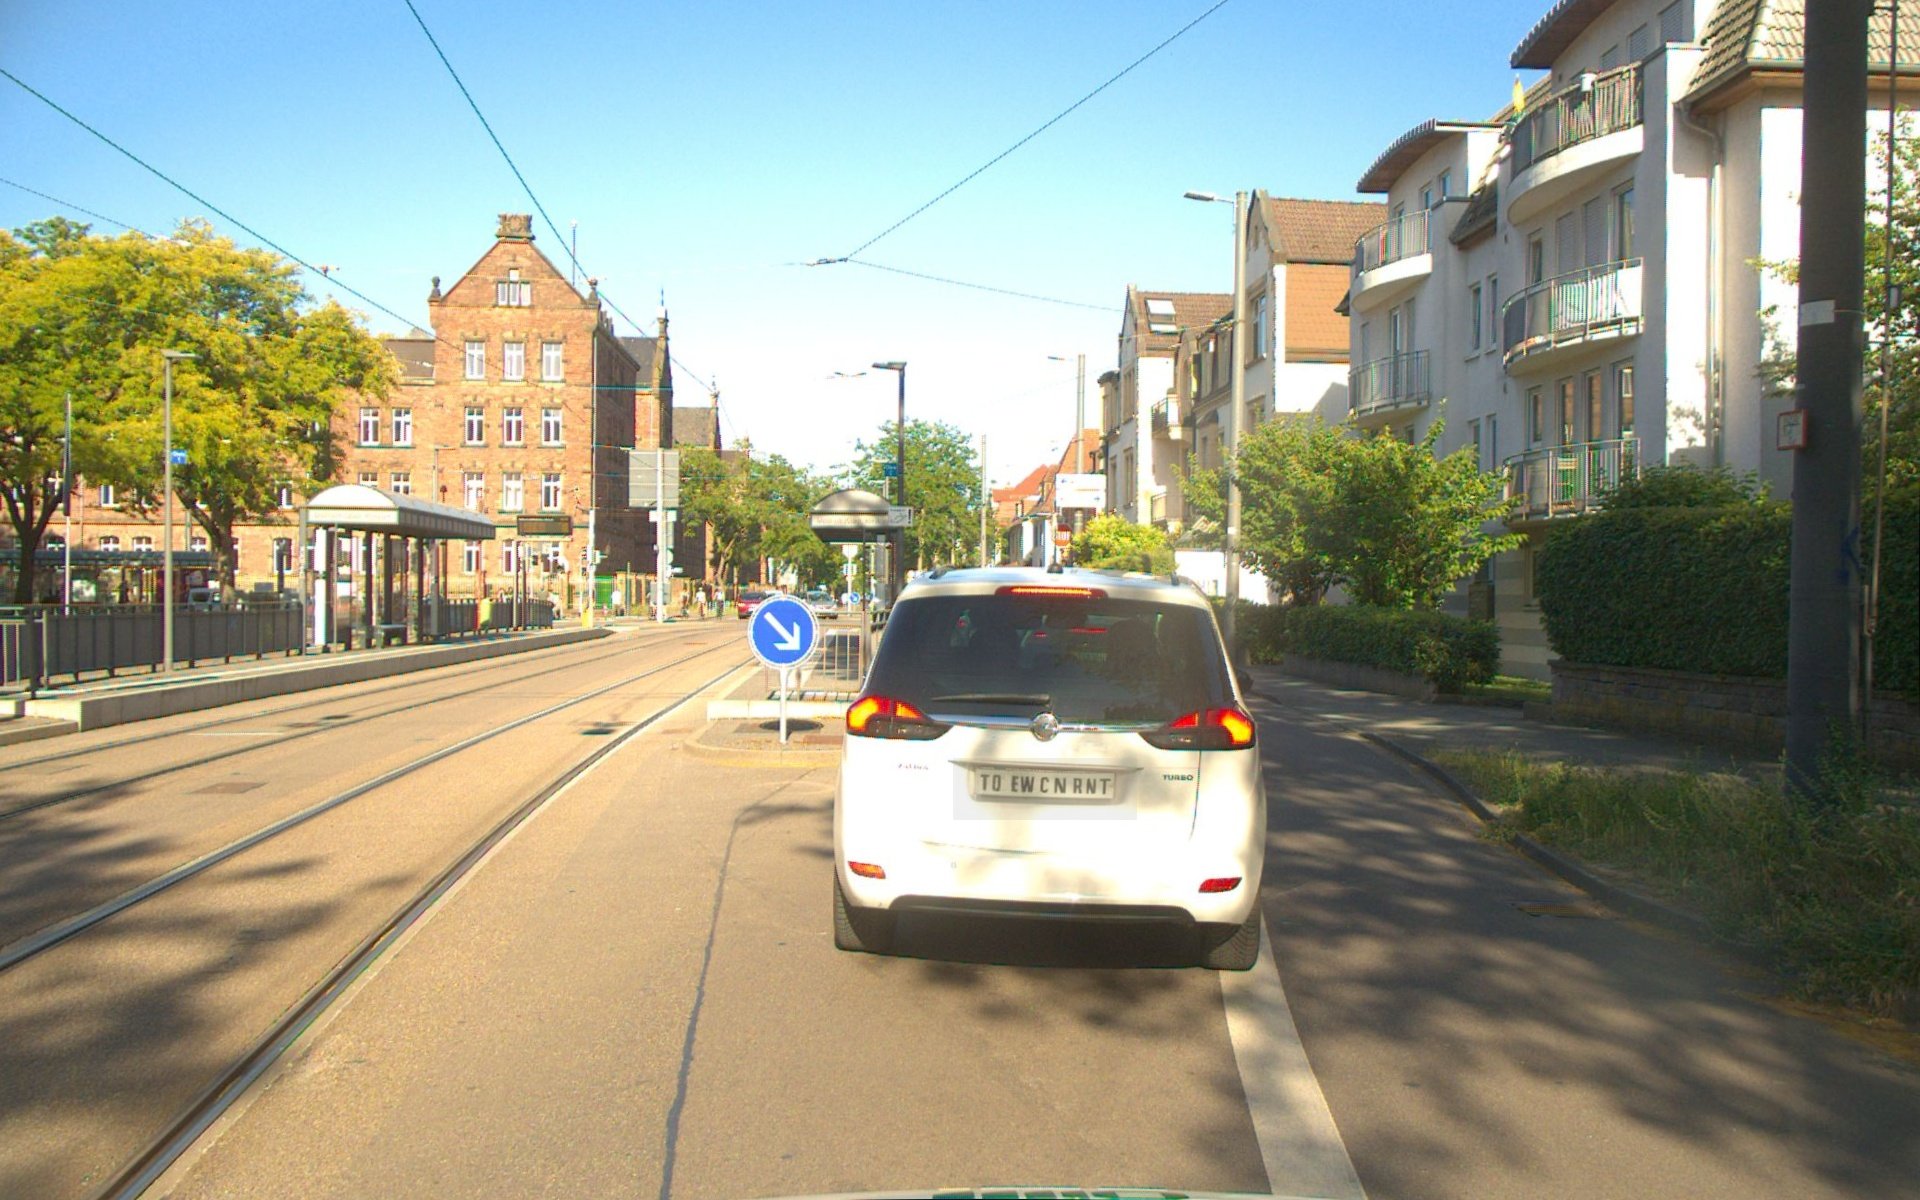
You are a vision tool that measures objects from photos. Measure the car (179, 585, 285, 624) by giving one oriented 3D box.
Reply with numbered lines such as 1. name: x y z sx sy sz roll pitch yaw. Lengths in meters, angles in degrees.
1. car: -32.456 0.219 73.820 3.908 1.658 1.817 1 0 -4

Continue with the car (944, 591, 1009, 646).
1. car: 0.495 0.554 53.086 1.869 1.690 3.998 0 0 -2

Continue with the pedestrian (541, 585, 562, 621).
1. pedestrian: -21.874 0.159 88.540 0.791 1.934 0.744 1 -1 13

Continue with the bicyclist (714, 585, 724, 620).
1. bicyclist: -14.483 0.159 99.289 0.478 2.049 0.502 1 -1 -1

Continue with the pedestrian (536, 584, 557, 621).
1. pedestrian: -21.693 0.139 86.733 0.791 1.934 0.744 1 -1 13

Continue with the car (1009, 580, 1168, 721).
1. car: 1.744 0.587 21.630 1.866 1.653 4.003 0 0 6

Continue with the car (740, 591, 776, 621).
1. car: -12.180 0.375 100.034 1.711 1.746 3.999 1 0 -1

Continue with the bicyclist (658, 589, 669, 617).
1. bicyclist: -16.333 0.164 91.076 0.520 1.503 0.572 1 -1 -1

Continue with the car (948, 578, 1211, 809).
1. car: 1.064 0.650 13.779 1.866 1.625 4.003 0 0 6

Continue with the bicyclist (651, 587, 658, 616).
1. bicyclist: -15.906 0.079 86.113 0.307 1.469 0.384 1 -1 -1

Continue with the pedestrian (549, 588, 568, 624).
1. pedestrian: -22.827 0.329 94.015 0.704 2.049 0.796 1 -1 28

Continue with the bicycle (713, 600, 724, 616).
1. bicycle: -14.485 0.477 99.224 0.477 0.988 1.405 1 0 -1

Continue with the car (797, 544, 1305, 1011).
1. car: 0.544 0.634 8.098 1.866 1.690 4.003 0 0 6

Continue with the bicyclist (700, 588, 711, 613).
1. bicyclist: -15.285 0.029 99.253 0.520 1.503 0.572 1 -1 -1

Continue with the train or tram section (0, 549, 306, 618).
1. train or tram section: -40.759 -0.762 79.421 17.048 3.210 3.343 0 0 -6

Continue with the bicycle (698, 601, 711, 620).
1. bicycle: -15.308 0.630 99.156 0.498 1.096 1.738 1 0 -1

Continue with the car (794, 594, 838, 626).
1. car: -8.201 0.541 93.826 1.719 1.746 3.981 1 0 -17

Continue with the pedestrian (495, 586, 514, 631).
1. pedestrian: -21.031 0.388 76.416 0.781 2.049 1.042 1 -1 -15

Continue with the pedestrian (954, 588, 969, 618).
1. pedestrian: 0.110 0.175 106.250 0.791 1.934 0.744 1 -1 14

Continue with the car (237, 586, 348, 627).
1. car: -28.125 0.267 69.747 3.908 1.658 1.817 1 0 -4

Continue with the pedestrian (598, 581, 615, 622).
1. pedestrian: -18.093 0.085 84.694 0.782 2.049 0.717 1 -1 -18

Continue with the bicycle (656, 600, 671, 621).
1. bicycle: -16.329 0.578 91.044 0.498 1.096 1.738 1 0 -1

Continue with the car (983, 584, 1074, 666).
1. car: 1.440 0.504 36.124 1.868 1.690 4.000 0 0 0

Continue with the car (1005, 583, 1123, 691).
1. car: 1.784 0.578 28.291 1.867 1.690 4.002 0 0 4

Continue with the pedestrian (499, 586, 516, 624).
1. pedestrian: -21.856 0.254 79.893 0.754 1.805 0.717 1 -1 -18

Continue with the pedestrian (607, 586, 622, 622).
1. pedestrian: -20.215 0.234 96.748 0.675 2.049 0.618 1 -1 5

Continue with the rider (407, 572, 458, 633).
1. rider: -16.245 0.076 50.995 0.779 1.813 2.486 1 0 -2

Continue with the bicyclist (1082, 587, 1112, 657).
1. bicyclist: 3.308 0.524 39.886 0.662 1.687 0.745 0 0 0

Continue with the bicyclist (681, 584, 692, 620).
1. bicyclist: -15.513 0.118 93.849 0.488 2.049 0.572 1 -1 -1
